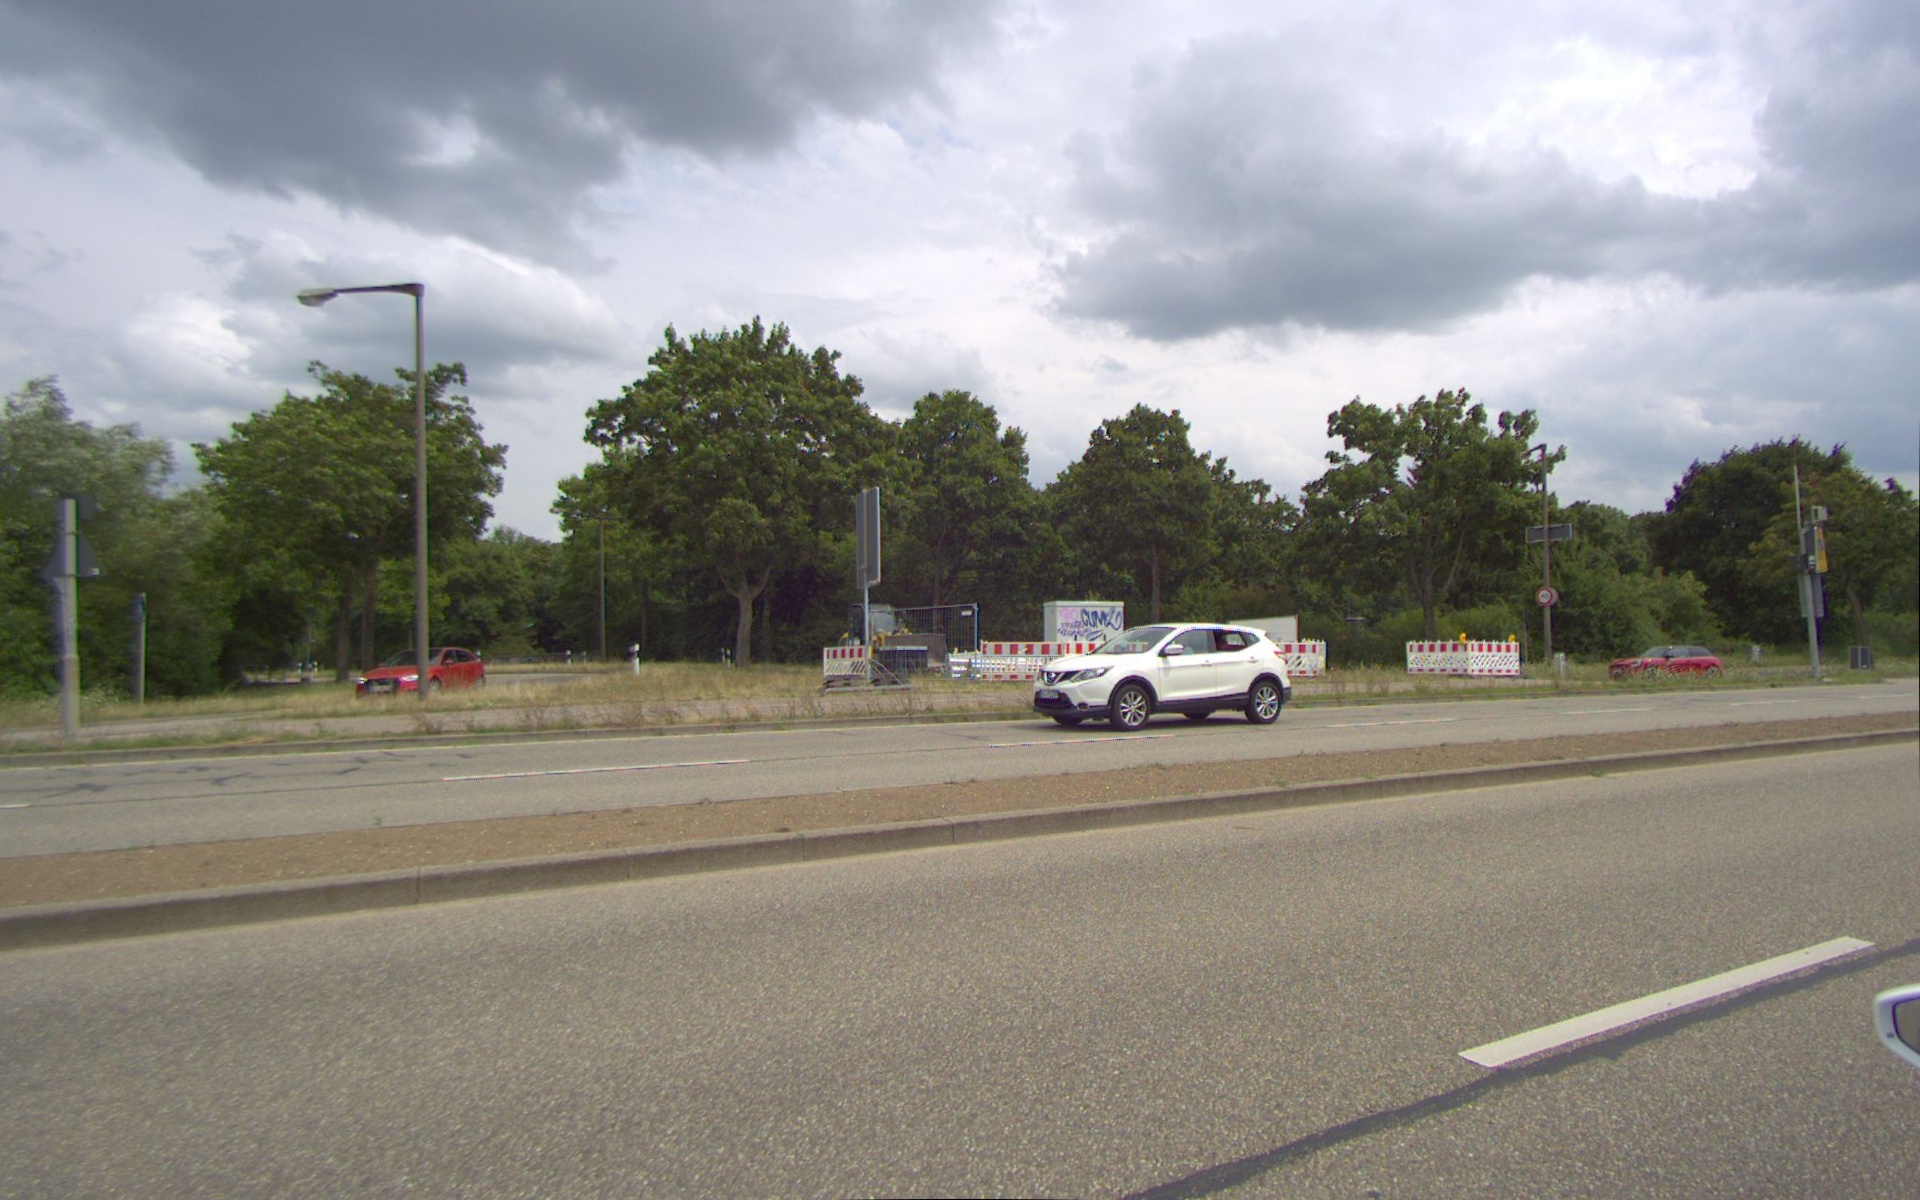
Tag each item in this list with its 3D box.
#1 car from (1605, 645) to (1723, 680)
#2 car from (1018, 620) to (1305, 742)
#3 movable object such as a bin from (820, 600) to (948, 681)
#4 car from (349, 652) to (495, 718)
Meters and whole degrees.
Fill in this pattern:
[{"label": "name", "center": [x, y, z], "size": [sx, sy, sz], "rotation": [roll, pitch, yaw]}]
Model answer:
[{"label": "car", "center": [27.332, 2.406, 39.031], "size": [3.819, 1.261, 1.406], "rotation": [1, 0, -7]}, {"label": "car", "center": [3.177, 1.152, 15.668], "size": [4.329, 1.651, 1.688], "rotation": [0, -1, -29]}, {"label": "movable object such as a bin", "center": [-2.558, 1.269, 32.711], "size": [1.983, 2.429, 4.542], "rotation": [0, -1, -38]}, {"label": "car", "center": [-13.895, 2.143, 26.231], "size": [1.747, 1.391, 4.295], "rotation": [0, -1, -4]}]
